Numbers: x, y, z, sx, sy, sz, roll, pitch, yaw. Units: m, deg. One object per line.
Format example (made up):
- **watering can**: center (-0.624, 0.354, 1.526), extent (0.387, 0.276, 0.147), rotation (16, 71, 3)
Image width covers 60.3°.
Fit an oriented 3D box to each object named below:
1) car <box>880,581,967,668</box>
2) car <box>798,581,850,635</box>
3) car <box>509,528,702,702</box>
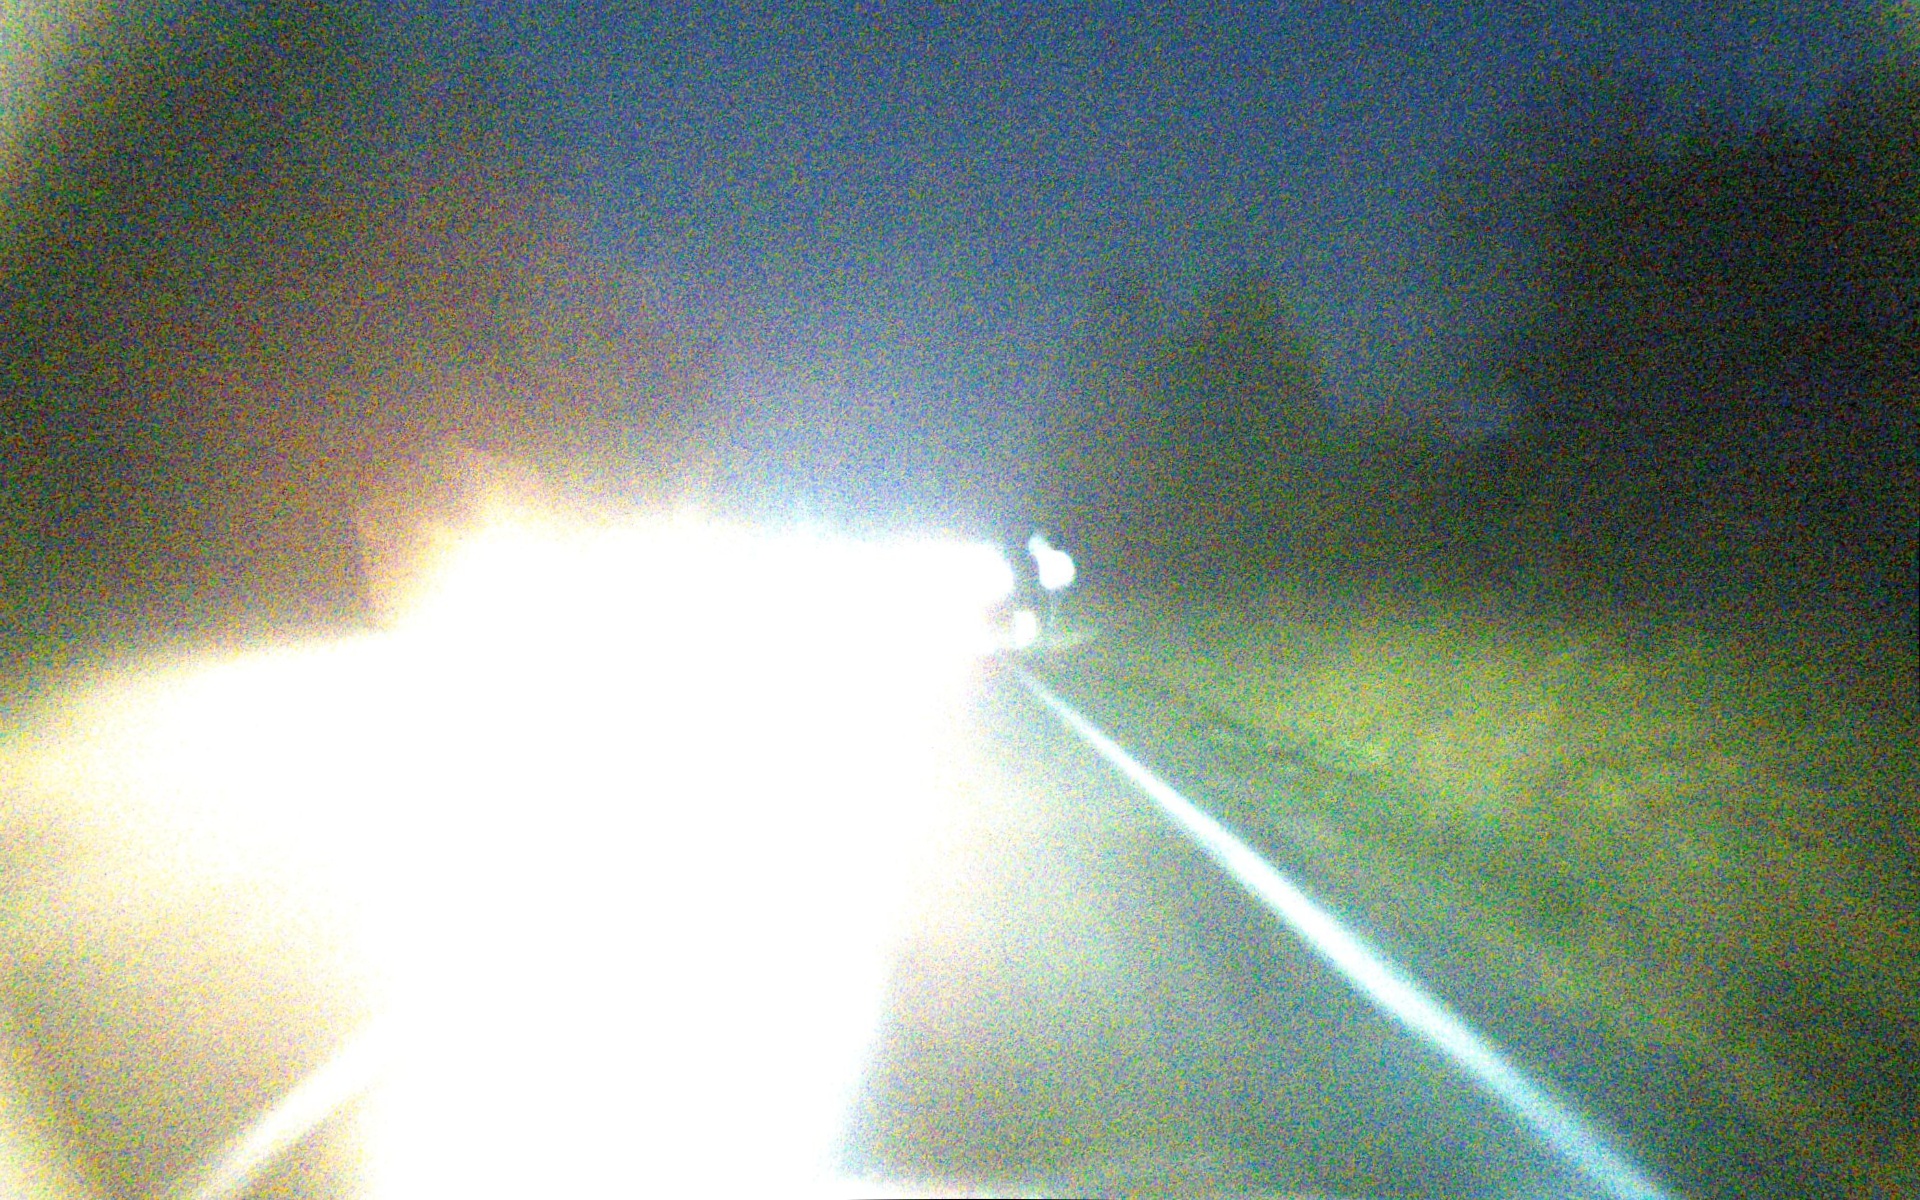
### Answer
- **car**: center (-0.948, 0.574, 42.051), extent (2.051, 2.049, 3.998), rotation (2, 0, -2)
- **car**: center (-5.409, 0.289, 65.785), extent (1.955, 2.049, 3.996), rotation (2, 0, -5)
- **car**: center (-4.626, 0.169, 22.136), extent (1.955, 2.049, 3.996), rotation (2, 0, -5)
